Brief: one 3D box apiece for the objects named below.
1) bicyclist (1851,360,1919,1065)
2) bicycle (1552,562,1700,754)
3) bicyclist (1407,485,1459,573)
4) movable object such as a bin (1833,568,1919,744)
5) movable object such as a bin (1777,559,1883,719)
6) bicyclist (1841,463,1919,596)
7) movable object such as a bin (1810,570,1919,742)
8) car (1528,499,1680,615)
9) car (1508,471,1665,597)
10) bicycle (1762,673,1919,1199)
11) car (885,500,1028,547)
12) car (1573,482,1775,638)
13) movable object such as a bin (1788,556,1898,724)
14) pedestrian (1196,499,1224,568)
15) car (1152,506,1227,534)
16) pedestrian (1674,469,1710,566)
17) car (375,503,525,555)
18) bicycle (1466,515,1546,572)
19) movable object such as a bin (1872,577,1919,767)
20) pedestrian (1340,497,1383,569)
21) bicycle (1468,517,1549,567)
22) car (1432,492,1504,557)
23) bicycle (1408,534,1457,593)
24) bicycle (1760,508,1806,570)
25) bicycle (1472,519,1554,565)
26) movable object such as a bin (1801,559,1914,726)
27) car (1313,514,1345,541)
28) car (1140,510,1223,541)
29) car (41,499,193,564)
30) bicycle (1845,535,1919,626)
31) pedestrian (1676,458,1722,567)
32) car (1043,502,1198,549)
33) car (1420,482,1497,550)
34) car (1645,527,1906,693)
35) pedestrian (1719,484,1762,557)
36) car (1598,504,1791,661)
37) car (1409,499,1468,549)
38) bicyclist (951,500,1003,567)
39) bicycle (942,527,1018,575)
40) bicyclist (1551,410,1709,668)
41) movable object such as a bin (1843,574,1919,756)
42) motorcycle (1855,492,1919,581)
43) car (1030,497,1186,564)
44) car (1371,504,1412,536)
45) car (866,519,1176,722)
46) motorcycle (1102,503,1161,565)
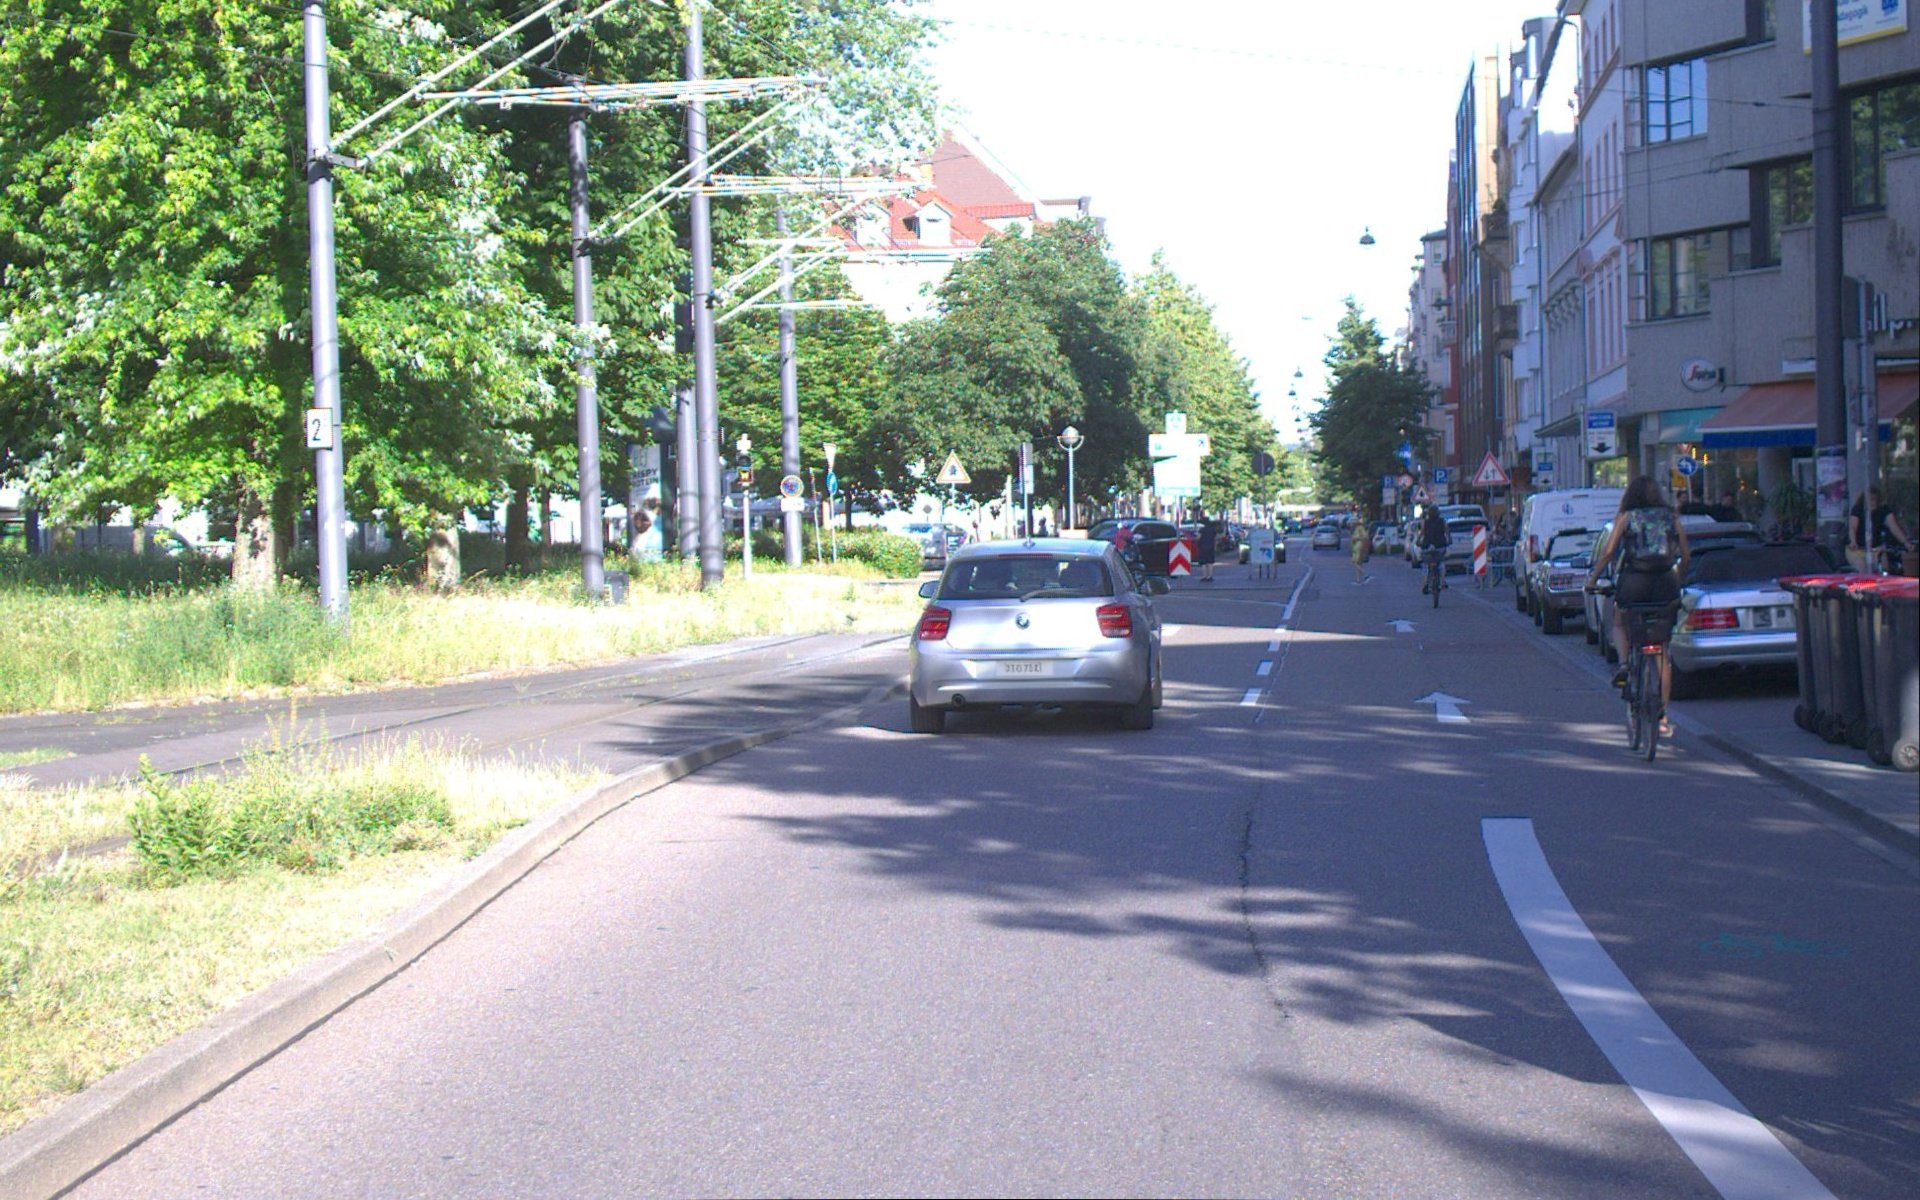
[{"bbox_3d":[2.542,0.238,7.161,1.037,1.479,0.988,0,0,-6],"label":"bicyclist"},{"bbox_3d":[4.326,0.347,22.237,0.820,1.181,1.963,0,1,14],"label":"bicycle"},{"bbox_3d":[7.866,-1.181,57.155,0.786,1.448,1.095,0,0,5],"label":"bicyclist"},{"bbox_3d":[5.704,0.335,21.062,0.591,1.065,0.496,0,0,3],"label":"movable object such as a bin"},{"bbox_3d":[5.938,0.260,23.481,0.592,1.080,0.604,0,0,3],"label":"movable object such as a bin"},{"bbox_3d":[9.395,-0.709,34.888,0.758,1.322,0.994,0,0,8],"label":"bicyclist"},{"bbox_3d":[5.726,0.344,21.651,0.606,1.065,0.613,0,0,2],"label":"movable object such as a bin"},{"bbox_3d":[8.479,-0.570,45.566,1.775,1.449,4.729,0,1,8],"label":"car"},{"bbox_3d":[9.414,-0.979,51.931,1.994,1.806,4.308,0,1,6],"label":"car"},{"bbox_3d":[2.520,0.758,7.332,0.885,1.132,2.229,0,1,-6],"label":"bicycle"},{"bbox_3d":[-0.129,-3.030,136.955,5.262,1.793,2.164,0,1,-20],"label":"car"},{"bbox_3d":[8.098,-0.457,39.263,1.851,1.683,3.866,0,1,6],"label":"car"},{"bbox_3d":[5.877,0.258,22.889,0.610,1.101,0.526,0,0,3],"label":"movable object such as a bin"},{"bbox_3d":[6.098,-1.616,83.740,0.636,1.666,0.692,0,0,7],"label":"pedestrian"},{"bbox_3d":[12.472,-4.360,186.840,3.988,1.503,1.894,0,1,7],"label":"car"},{"bbox_3d":[12.965,-1.463,60.922,0.584,1.708,0.697,0,0,9],"label":"pedestrian"},{"bbox_3d":[-20.097,-2.779,135.510,5.574,2.007,1.818,0,0,-20],"label":"car"},{"bbox_3d":[12.054,-1.245,75.946,1.624,1.239,0.658,1,0,26],"label":"bicycle"},{"bbox_3d":[5.607,0.407,19.805,0.573,1.078,0.570,0,0,3],"label":"movable object such as a bin"},{"bbox_3d":[9.423,-1.574,80.755,0.667,1.693,0.805,0,0,-25],"label":"pedestrian"},{"bbox_3d":[11.826,-1.252,74.129,1.681,1.058,0.343,1,0,22],"label":"bicycle"},{"bbox_3d":[14.036,-2.075,95.122,1.746,1.733,4.959,0,1,6],"label":"car"},{"bbox_3d":[7.845,-0.600,57.131,0.652,0.955,2.698,0,1,5],"label":"bicycle"},{"bbox_3d":[13.882,-1.022,58.026,0.563,1.031,1.644,0,0,7],"label":"bicycle"},{"bbox_3d":[11.981,-1.262,74.480,1.705,1.000,0.427,1,0,22],"label":"bicycle"},{"bbox_3d":[5.824,0.268,22.325,0.605,1.065,0.545,0,0,3],"label":"movable object such as a bin"},{"bbox_3d":[22.355,-4.395,208.342,1.871,1.550,3.999,0,1,7],"label":"car"},{"bbox_3d":[11.042,-3.721,171.101,3.988,1.503,1.999,0,1,7],"label":"car"},{"bbox_3d":[-31.046,-2.503,126.629,5.334,2.306,2.001,0,0,-17],"label":"car"},{"bbox_3d":[9.378,-0.202,34.876,0.534,0.888,2.069,0,1,8],"label":"bicycle"},{"bbox_3d":[12.918,-1.525,60.098,0.671,1.850,0.610,-3,0,10],"label":"pedestrian"},{"bbox_3d":[5.336,-2.458,114.234,4.833,1.483,1.765,0,0,-17],"label":"car"},{"bbox_3d":[15.276,-2.584,105.465,1.994,1.998,5.117,-1,2,5],"label":"car"},{"bbox_3d":[7.113,0.057,30.363,1.852,1.339,4.598,0,1,9],"label":"car"},{"bbox_3d":[13.631,-1.382,60.051,0.630,1.232,0.624,-3,0,10],"label":"pedestrian"},{"bbox_3d":[7.480,-0.192,35.310,1.672,1.513,4.198,0,1,8],"label":"car"},{"bbox_3d":[16.000,-2.526,115.060,1.718,1.510,3.582,-3,0,6],"label":"car"},{"bbox_3d":[0.374,-1.492,77.333,0.928,1.502,0.826,0,0,-21],"label":"bicyclist"},{"bbox_3d":[0.437,-1.090,77.153,0.809,1.065,2.584,0,1,-21],"label":"bicycle"},{"bbox_3d":[4.341,-0.394,22.240,0.940,1.628,0.935,0,0,14],"label":"bicyclist"},{"bbox_3d":[5.647,0.381,20.496,0.619,1.065,0.610,0,0,3],"label":"movable object such as a bin"},{"bbox_3d":[12.652,-0.857,46.857,0.764,1.151,2.046,-3,0,16],"label":"motorcycle"},{"bbox_3d":[3.937,-1.849,91.174,3.859,1.676,1.811,-2,1,-38],"label":"car"},{"bbox_3d":[22.249,-4.114,177.172,1.994,1.612,4.009,1,1,8],"label":"car"},{"bbox_3d":[0.552,0.122,26.292,1.994,1.418,4.196,0,1,6],"label":"car"},{"bbox_3d":[3.815,-1.465,76.697,0.745,1.369,1.761,0,0,-17],"label":"motorcycle"}]
